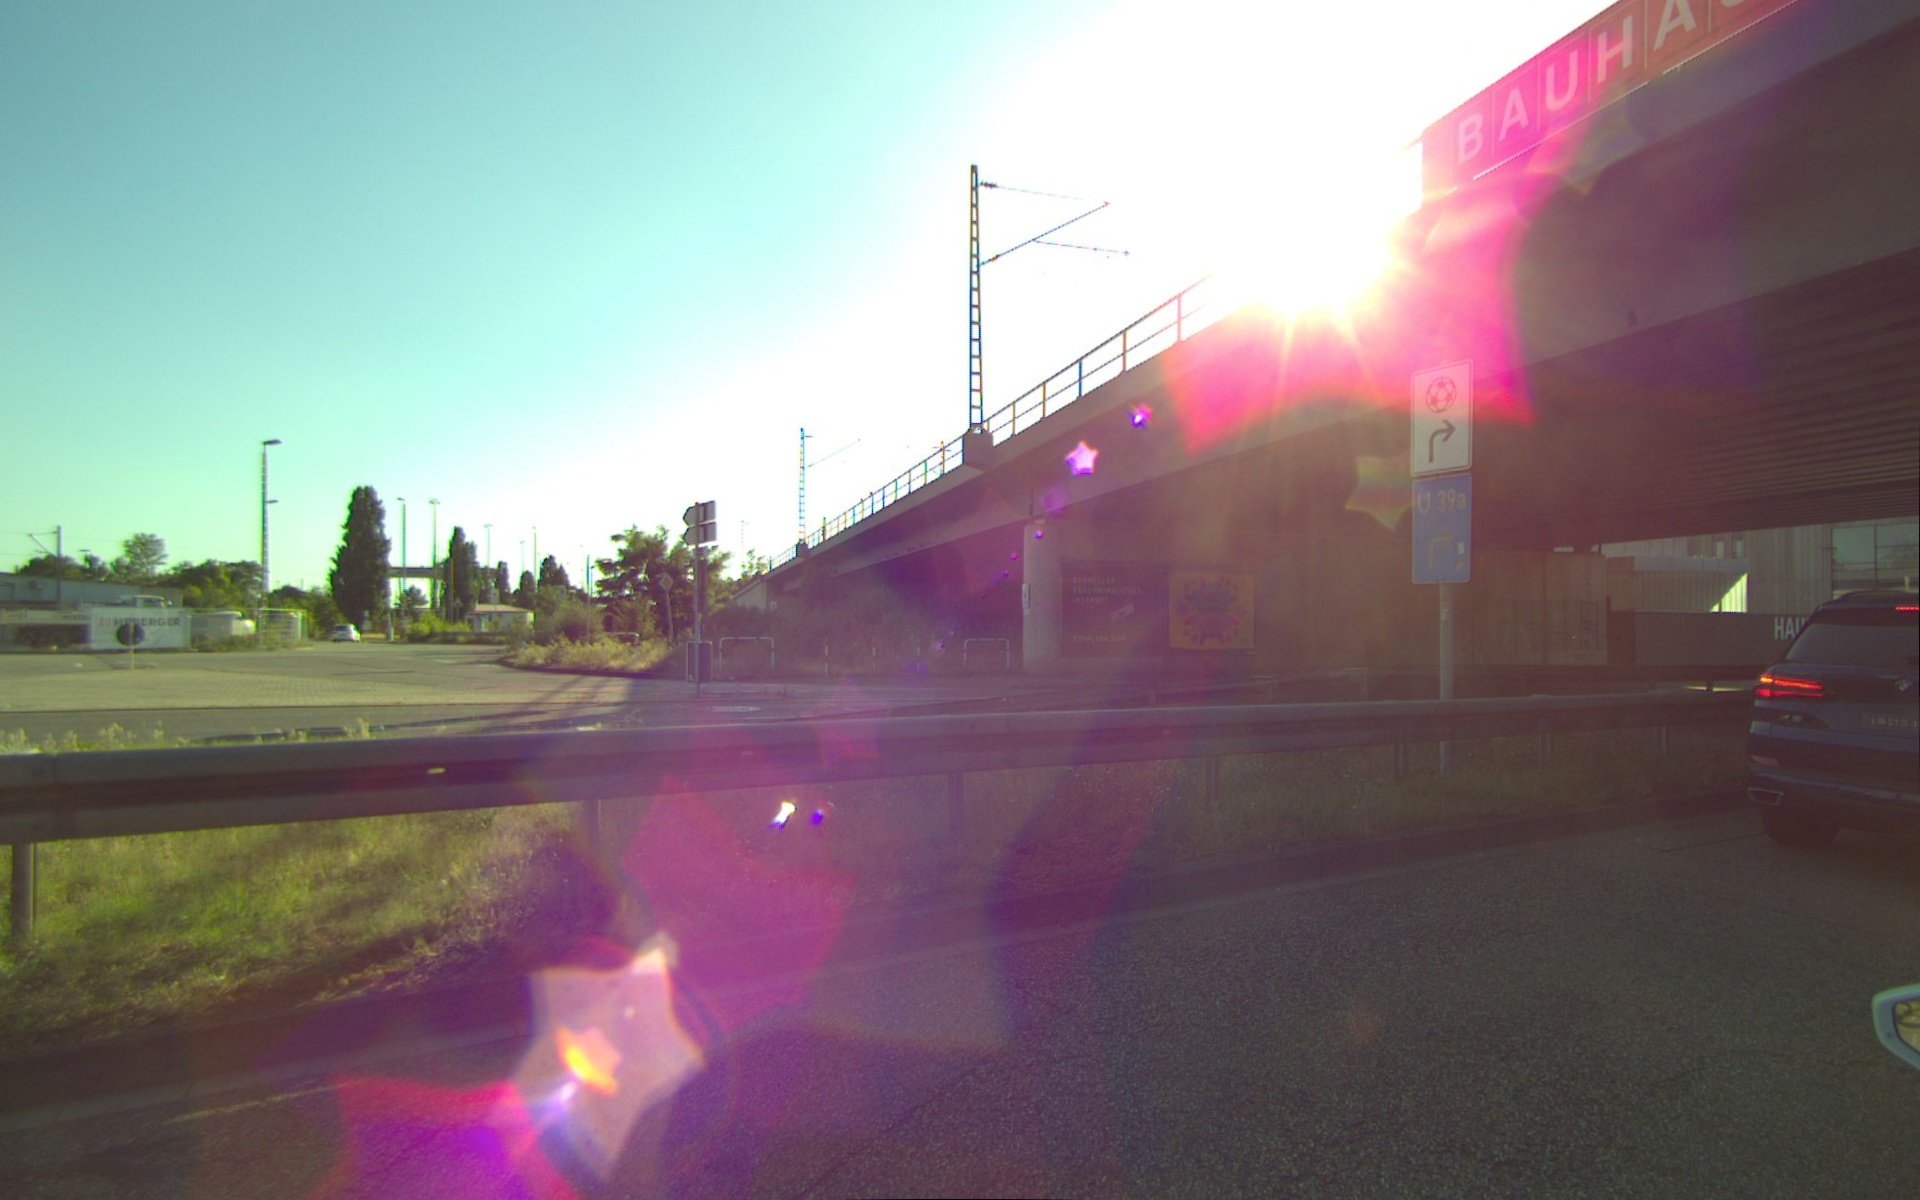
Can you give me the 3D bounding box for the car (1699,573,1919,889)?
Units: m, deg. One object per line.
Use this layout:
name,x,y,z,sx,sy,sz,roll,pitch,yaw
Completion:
car,7.284,0.791,6.716,4.475,1.757,1.986,2,0,-27

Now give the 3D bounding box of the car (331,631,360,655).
car,-56.881,3.951,92.934,1.980,2.040,3.961,2,0,-35
